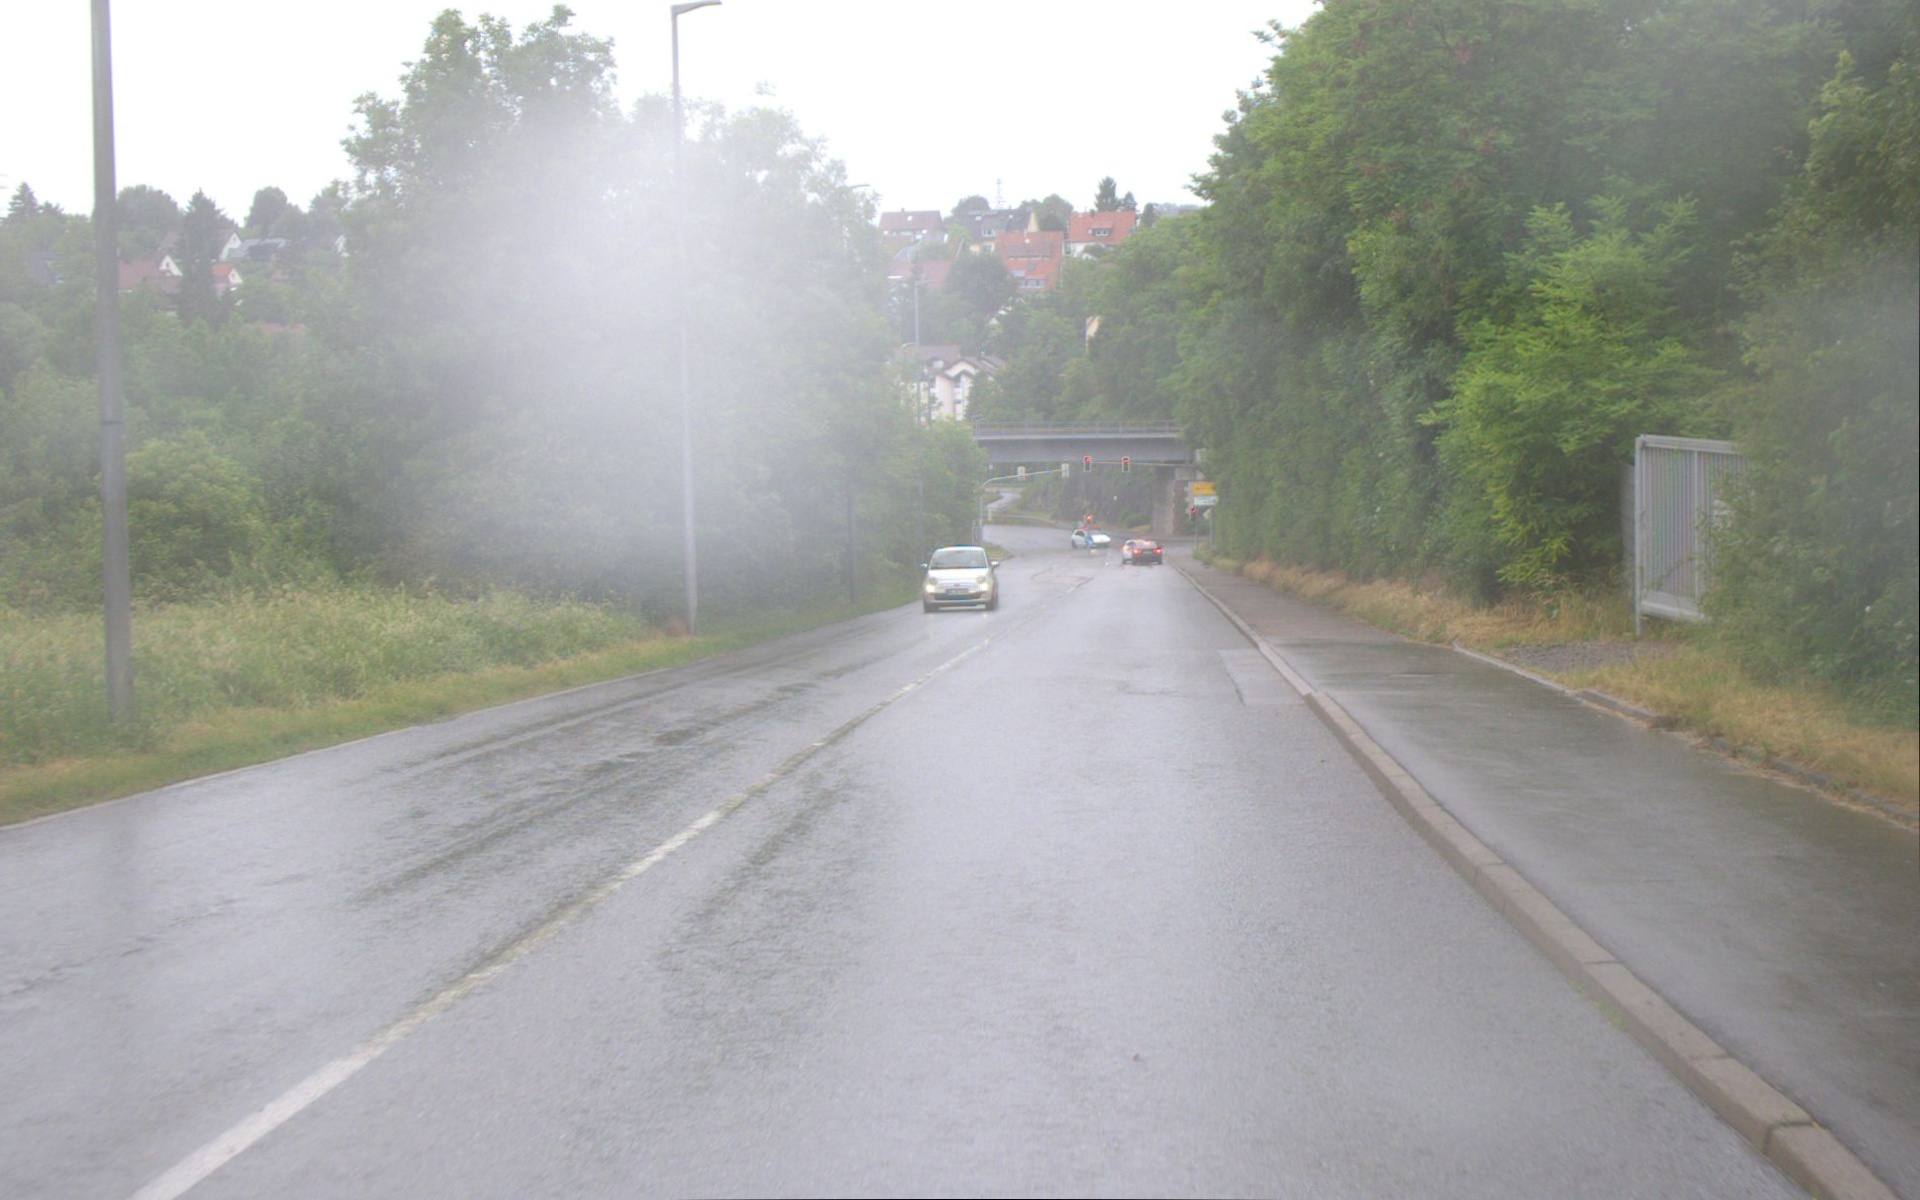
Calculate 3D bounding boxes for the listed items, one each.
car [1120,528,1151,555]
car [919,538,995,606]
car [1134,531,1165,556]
[{"bbox_3d":[10.764,-3.604,210.932,1.768,1.557,4.000,-2,1,4],"label":"car"},{"bbox_3d":[-0.052,-0.656,79.719,1.639,1.483,3.454,-2,1,1],"label":"car"},{"bbox_3d":[11.261,-3.359,204.236,1.768,1.375,4.000,-2,1,4],"label":"car"}]
